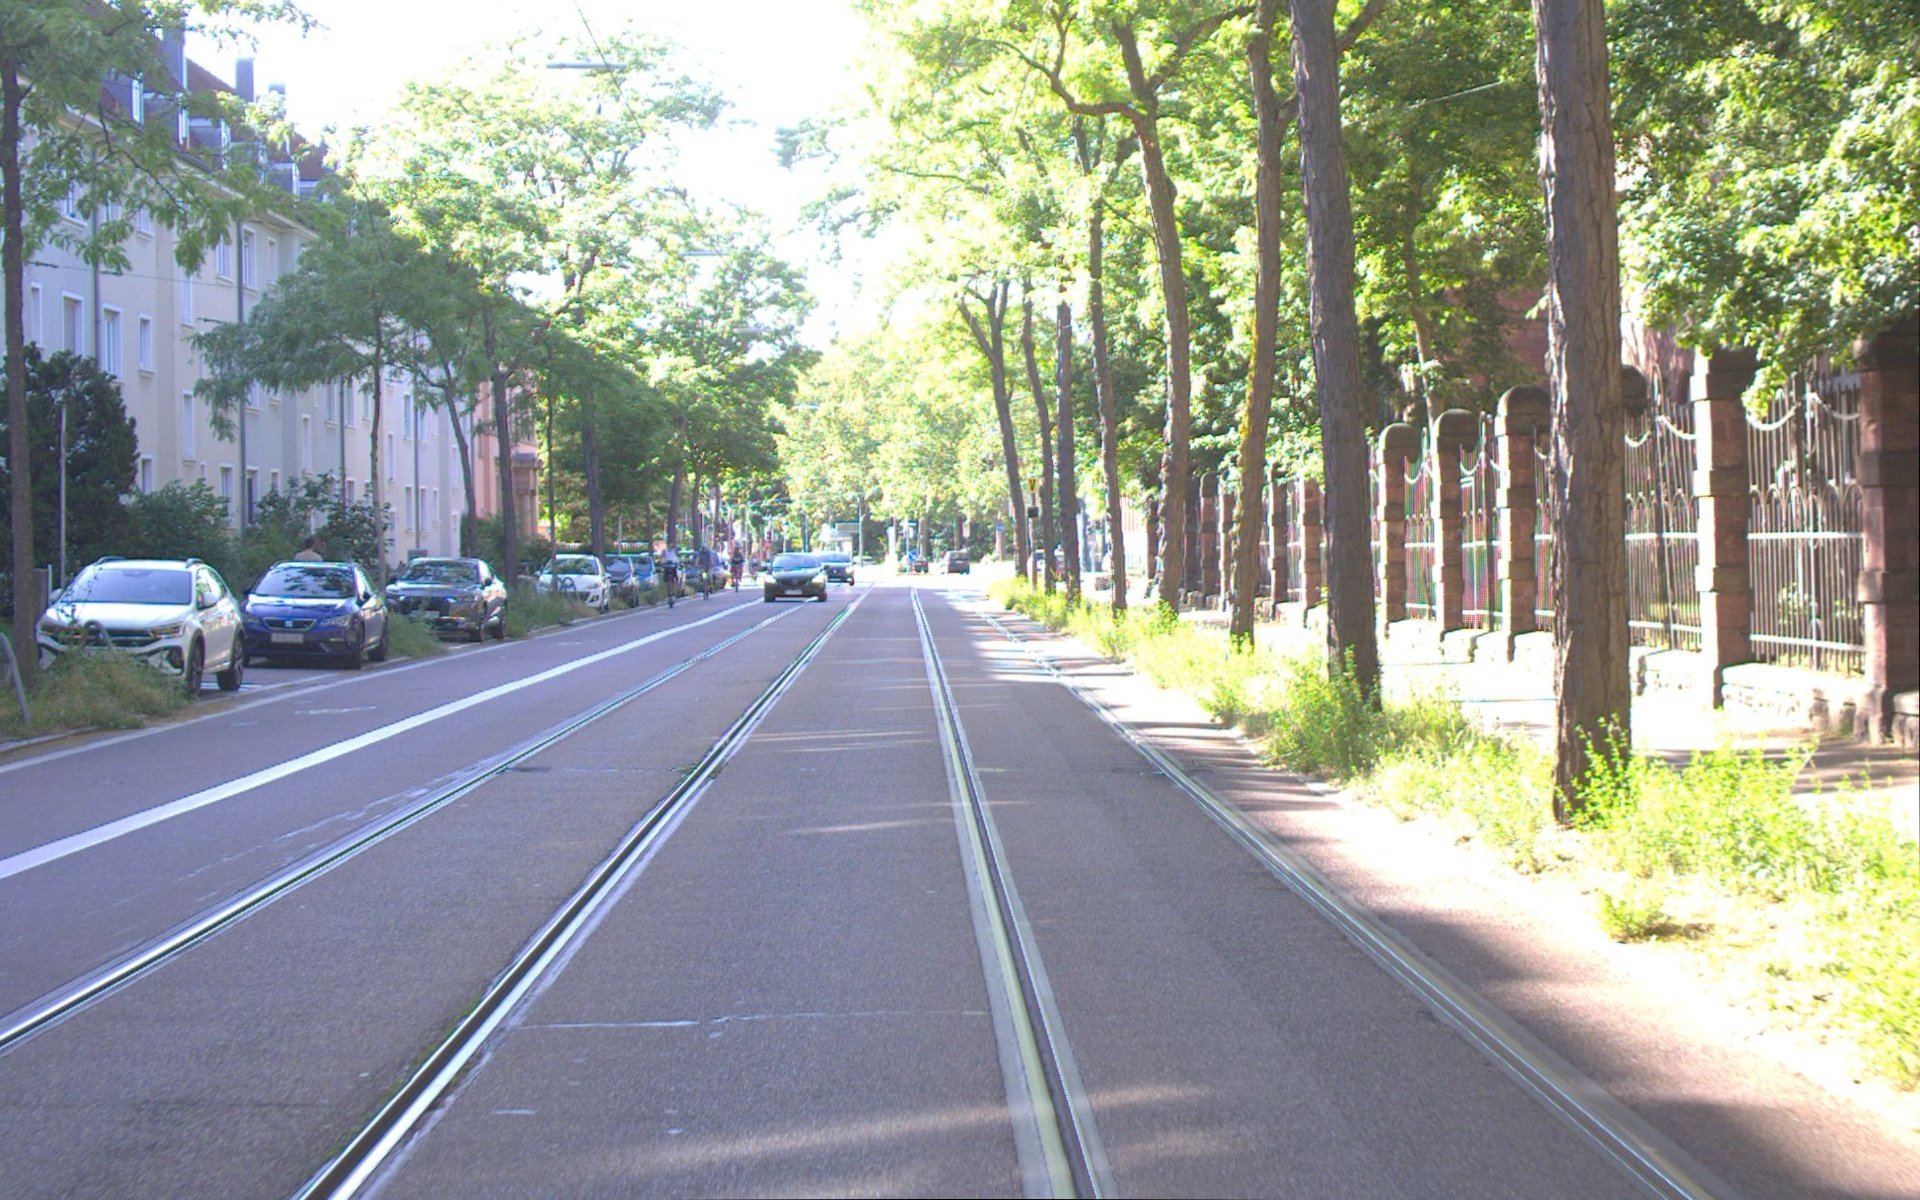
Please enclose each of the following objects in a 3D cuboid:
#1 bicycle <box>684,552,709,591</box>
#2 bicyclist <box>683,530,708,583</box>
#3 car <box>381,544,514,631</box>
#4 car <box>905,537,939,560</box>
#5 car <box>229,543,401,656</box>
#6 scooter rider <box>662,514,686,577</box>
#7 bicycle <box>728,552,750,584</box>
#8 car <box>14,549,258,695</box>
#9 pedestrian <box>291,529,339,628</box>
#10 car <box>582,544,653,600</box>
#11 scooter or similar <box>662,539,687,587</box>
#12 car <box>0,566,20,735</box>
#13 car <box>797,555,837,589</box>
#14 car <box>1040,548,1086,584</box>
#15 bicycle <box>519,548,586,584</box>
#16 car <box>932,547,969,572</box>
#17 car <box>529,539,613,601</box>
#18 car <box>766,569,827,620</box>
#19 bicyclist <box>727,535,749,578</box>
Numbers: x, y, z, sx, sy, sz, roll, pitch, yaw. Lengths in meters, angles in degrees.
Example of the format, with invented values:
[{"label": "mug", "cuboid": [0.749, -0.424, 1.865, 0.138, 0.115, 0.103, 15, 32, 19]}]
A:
[{"label": "bicycle", "cuboid": [-8.379, -0.906, 109.353, 0.626, 1.173, 1.913, -3, 1, -1]}, {"label": "bicyclist", "cuboid": [-8.406, -1.377, 109.332, 0.626, 1.633, 0.940, -3, 1, -1]}, {"label": "car", "cuboid": [-9.180, -0.248, 61.827, 1.817, 1.480, 4.206, 1, 1, -1]}, {"label": "car", "cuboid": [-2.620, -3.549, 237.382, 1.942, 1.605, 4.001, 0, 1, -6]}, {"label": "car", "cuboid": [-9.145, -0.040, 49.023, 1.757, 1.506, 4.439, 1, 1, -2]}, {"label": "scooter rider", "cuboid": [-7.949, -1.514, 95.465, 0.496, 1.694, 0.787, -4, 1, -1]}, {"label": "bicycle", "cuboid": [-8.538, -1.246, 132.729, 0.694, 1.173, 1.913, -3, 1, -1]}, {"label": "car", "cuboid": [-9.118, 0.199, 38.368, 1.817, 1.506, 4.372, 1, 1, -2]}, {"label": "pedestrian", "cuboid": [-11.798, -0.400, 62.892, 0.691, 1.795, 0.813, -1, 1, -1]}, {"label": "car", "cuboid": [-9.594, -0.807, 96.585, 1.687, 1.480, 3.760, 2, 1, -2]}, {"label": "scooter or similar", "cuboid": [-7.919, -1.032, 95.467, 0.520, 1.293, 1.377, -4, 1, -1]}, {"label": "car", "cuboid": [-8.805, 0.440, 27.136, 1.705, 1.401, 4.334, 1, 1, -2]}, {"label": "car", "cuboid": [-6.138, -1.225, 148.142, 1.699, 1.434, 4.072, 0, 1, -2]}, {"label": "car", "cuboid": [4.795, -1.587, 160.381, 1.839, 1.649, 3.580, 0, 1, -3]}, {"label": "bicycle", "cuboid": [-14.561, -1.221, 122.763, 2.285, 1.194, 0.559, 2, 2, 6]}, {"label": "car", "cuboid": [-0.633, -2.606, 222.389, 1.942, 1.605, 4.001, 0, 1, -6]}, {"label": "car", "cuboid": [-9.944, -0.786, 88.161, 1.702, 1.480, 4.079, 2, 1, -1]}, {"label": "car", "cuboid": [-4.784, -0.172, 101.075, 1.757, 1.434, 4.524, 0, 1, -2]}, {"label": "bicyclist", "cuboid": [-8.555, -1.678, 132.625, 0.709, 1.601, 0.865, -3, 1, -1]}]
